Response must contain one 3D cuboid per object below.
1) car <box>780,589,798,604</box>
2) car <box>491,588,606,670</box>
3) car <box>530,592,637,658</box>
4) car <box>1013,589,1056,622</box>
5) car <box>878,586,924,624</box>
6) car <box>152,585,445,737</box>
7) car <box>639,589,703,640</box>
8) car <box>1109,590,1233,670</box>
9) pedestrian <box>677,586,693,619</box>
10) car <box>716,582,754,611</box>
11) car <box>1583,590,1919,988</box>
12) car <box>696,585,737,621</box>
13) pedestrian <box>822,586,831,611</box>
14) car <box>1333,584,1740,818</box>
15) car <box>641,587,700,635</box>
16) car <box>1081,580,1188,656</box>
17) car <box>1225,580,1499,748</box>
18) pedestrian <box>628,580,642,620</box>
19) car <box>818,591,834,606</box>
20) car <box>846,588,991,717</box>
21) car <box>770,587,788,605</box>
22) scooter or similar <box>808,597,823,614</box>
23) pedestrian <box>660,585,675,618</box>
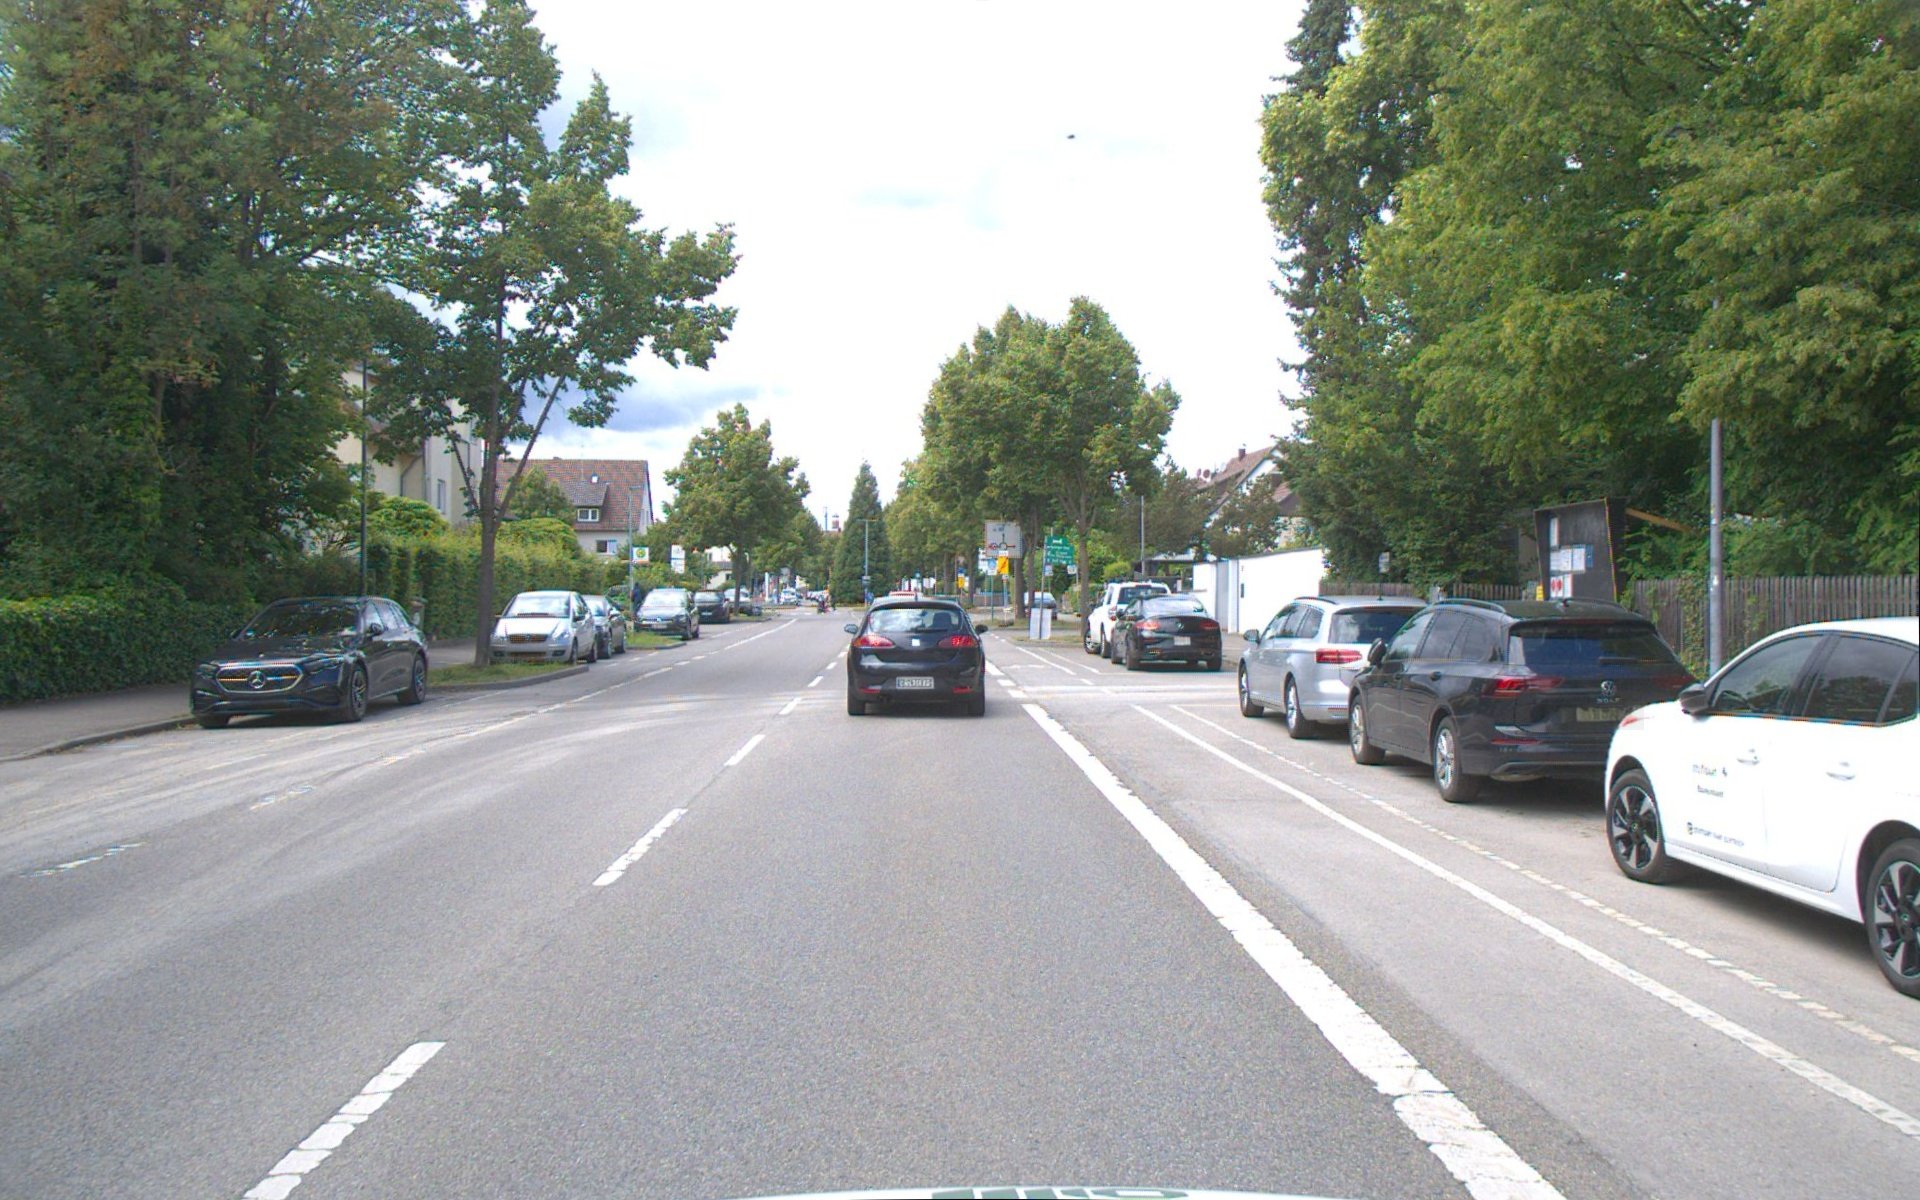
[{"bbox_3d":[-18.209,-0.391,176.104,1.762,1.629,3.997,-1,0,-4],"label":"car"},{"bbox_3d":[-8.812,0.582,35.685,1.684,1.641,3.908,-1,0,-3],"label":"car"},{"bbox_3d":[-9.322,0.586,41.304,1.955,1.511,4.885,-1,0,-5],"label":"car"},{"bbox_3d":[3.369,0.270,75.299,1.579,1.401,4.384,0,-1,-2],"label":"car"},{"bbox_3d":[-2.610,0.204,73.493,1.953,1.641,3.999,0,0,-2],"label":"car"},{"bbox_3d":[-8.294,0.664,21.329,2.054,1.675,5.034,-1,1,-4],"label":"car"},{"bbox_3d":[-9.360,0.445,53.796,1.644,1.579,4.269,0,0,-4],"label":"car"},{"bbox_3d":[4.050,0.527,32.432,1.825,1.441,4.602,0,1,0],"label":"car"},{"bbox_3d":[-14.329,0.116,86.201,0.772,1.692,0.752,0,0,-10],"label":"pedestrian"},{"bbox_3d":[-13.370,-0.222,98.521,1.823,1.682,4.292,0,0,-2],"label":"car"},{"bbox_3d":[4.562,0.733,7.781,1.731,1.537,4.030,0,0,0],"label":"car"},{"bbox_3d":[-12.091,0.138,82.255,1.690,1.755,4.560,0,0,-5],"label":"car"},{"bbox_3d":[-9.177,-0.116,113.726,0.503,1.699,0.483,0,0,7],"label":"pedestrian"},{"bbox_3d":[4.419,0.666,13.472,1.667,1.536,4.537,1,1,-1],"label":"car"},{"bbox_3d":[-10.620,0.367,60.956,1.785,1.662,4.581,-1,0,-6],"label":"car"},{"bbox_3d":[3.991,0.400,38.413,1.862,1.671,4.114,0,0,-3],"label":"car"},{"bbox_3d":[4.361,0.642,18.737,1.824,1.639,4.685,1,0,-2],"label":"car"},{"bbox_3d":[-14.923,0.013,75.932,0.493,1.837,0.671,0,0,-3],"label":"pedestrian"},{"bbox_3d":[-14.908,-0.133,184.055,1.537,1.663,3.620,-1,0,-2],"label":"car"},{"bbox_3d":[-0.502,0.609,21.506,1.697,1.512,4.000,1,0,0],"label":"car"},{"bbox_3d":[-21.261,-0.464,193.987,1.990,2.005,3.995,-1,0,-6],"label":"car"},{"bbox_3d":[-9.922,0.397,113.763,0.946,1.115,0.407,2,0,9],"label":"scooter or similar"},{"bbox_3d":[-15.272,0.073,86.299,0.772,1.692,0.879,0,0,-10],"label":"pedestrian"}]
